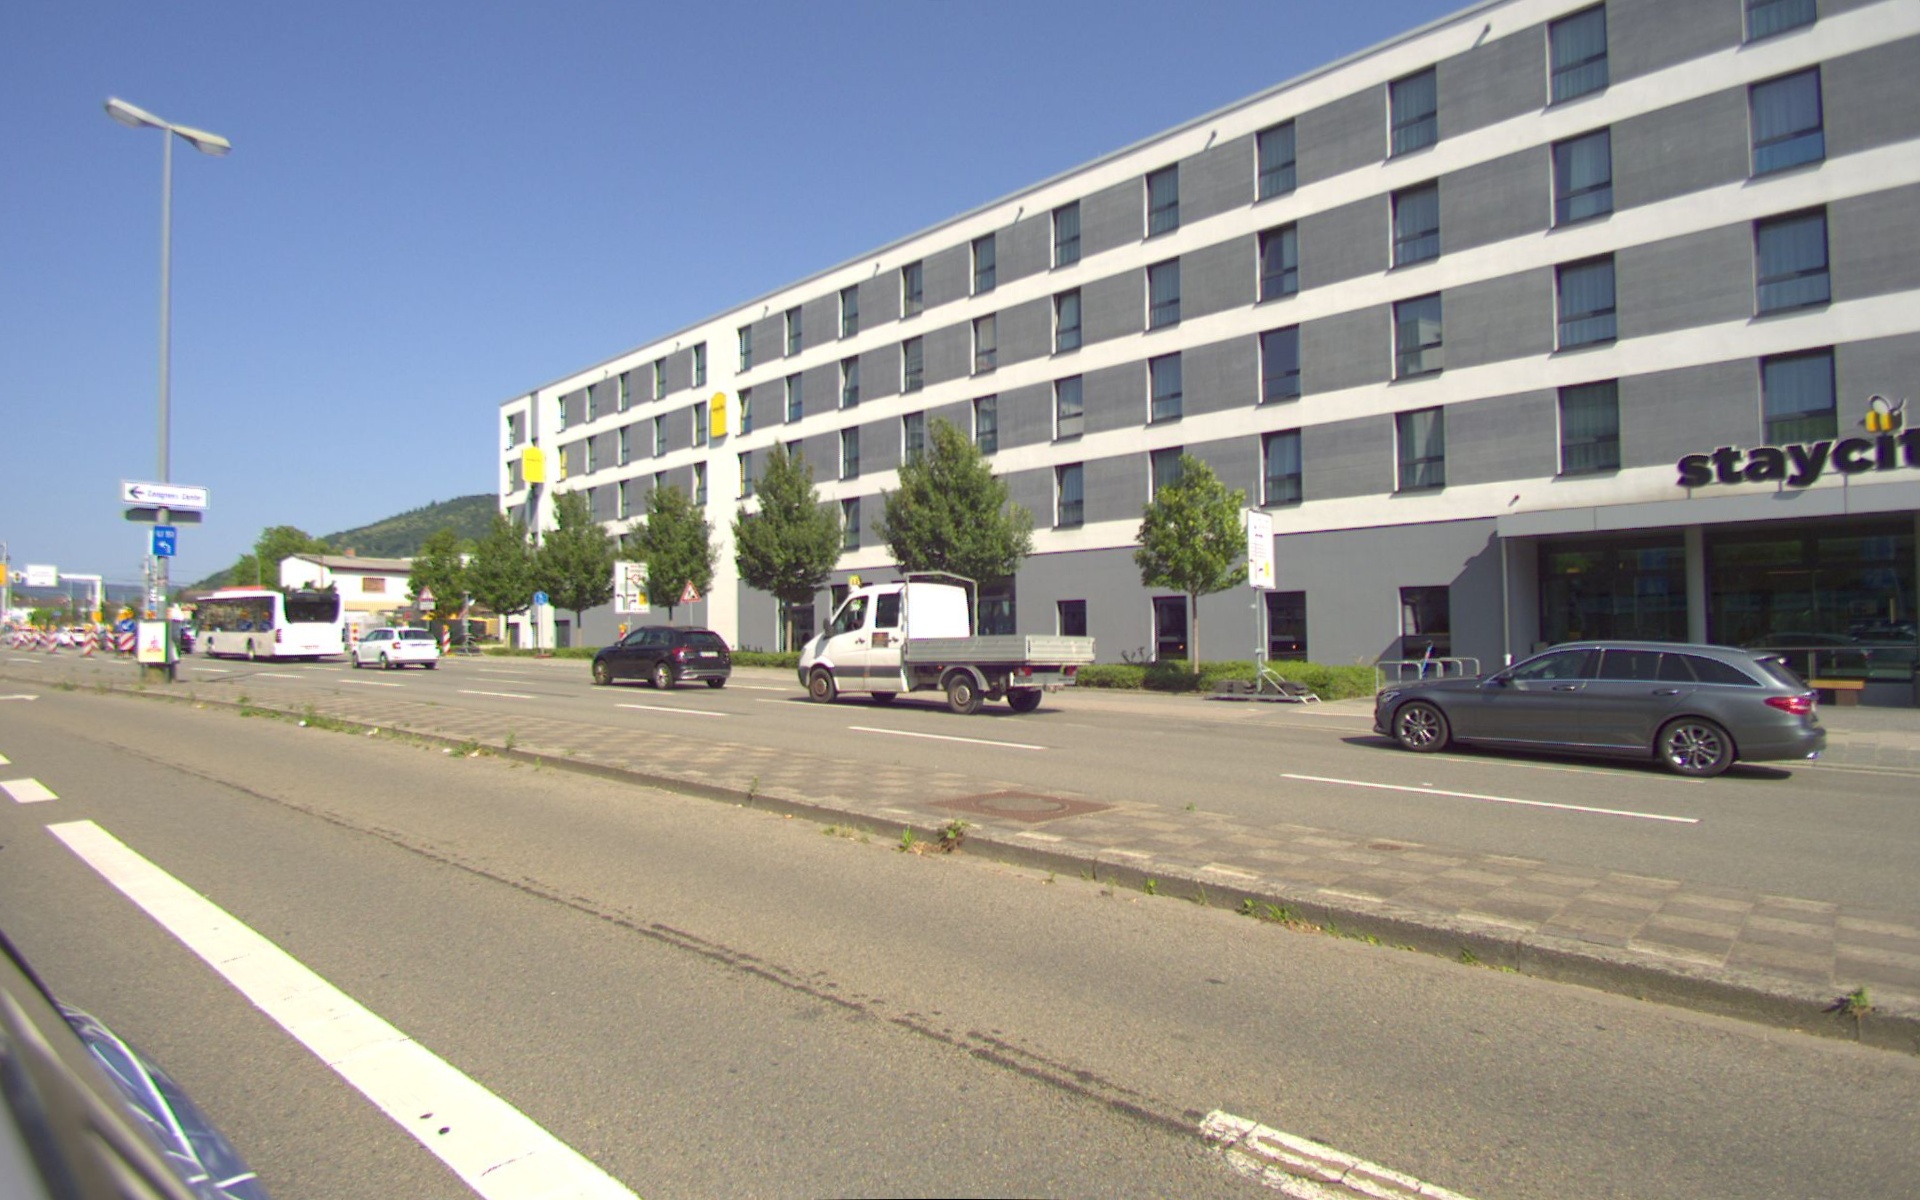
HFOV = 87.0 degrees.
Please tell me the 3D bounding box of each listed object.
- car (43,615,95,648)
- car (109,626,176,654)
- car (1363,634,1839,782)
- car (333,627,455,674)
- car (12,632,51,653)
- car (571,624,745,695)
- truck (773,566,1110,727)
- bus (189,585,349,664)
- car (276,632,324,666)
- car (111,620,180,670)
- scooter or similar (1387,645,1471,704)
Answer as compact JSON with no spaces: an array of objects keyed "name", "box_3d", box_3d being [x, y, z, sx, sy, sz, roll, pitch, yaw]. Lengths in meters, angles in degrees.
[{"name":"car","box_3d":[-63.897,2.308,72.558,3.994,2.029,1.974,-6,-8,38]},{"name":"car","box_3d":[-44.697,2.152,55.301,4.888,1.443,1.973,-1,-2,41]},{"name":"car","box_3d":[7.539,1.156,12.241,4.586,1.438,1.934,-2,-4,43]},{"name":"car","box_3d":[-19.772,1.756,35.288,4.403,1.497,1.976,0,-4,36]},{"name":"car","box_3d":[-76.434,3.502,83.297,3.584,1.631,1.699,-1,-1,36]},{"name":"car","box_3d":[-7.607,1.425,25.367,4.406,1.590,1.975,-1,-2,38]},{"name":"truck","box_3d":[-0.556,0.828,19.136,6.435,2.564,2.332,0,-4,42]},{"name":"bus","box_3d":[-30.863,1.110,44.854,11.967,3.102,2.710,-1,-4,41]},{"name":"car","box_3d":[-25.690,1.899,39.384,2.220,1.216,1.044,0,0,42]},{"name":"car","box_3d":[-35.594,1.902,44.170,4.163,2.029,1.658,0,0,41]},{"name":"scooter or similar","box_3d":[9.451,1.485,20.441,1.518,1.121,0.347,0,-1,44]}]
